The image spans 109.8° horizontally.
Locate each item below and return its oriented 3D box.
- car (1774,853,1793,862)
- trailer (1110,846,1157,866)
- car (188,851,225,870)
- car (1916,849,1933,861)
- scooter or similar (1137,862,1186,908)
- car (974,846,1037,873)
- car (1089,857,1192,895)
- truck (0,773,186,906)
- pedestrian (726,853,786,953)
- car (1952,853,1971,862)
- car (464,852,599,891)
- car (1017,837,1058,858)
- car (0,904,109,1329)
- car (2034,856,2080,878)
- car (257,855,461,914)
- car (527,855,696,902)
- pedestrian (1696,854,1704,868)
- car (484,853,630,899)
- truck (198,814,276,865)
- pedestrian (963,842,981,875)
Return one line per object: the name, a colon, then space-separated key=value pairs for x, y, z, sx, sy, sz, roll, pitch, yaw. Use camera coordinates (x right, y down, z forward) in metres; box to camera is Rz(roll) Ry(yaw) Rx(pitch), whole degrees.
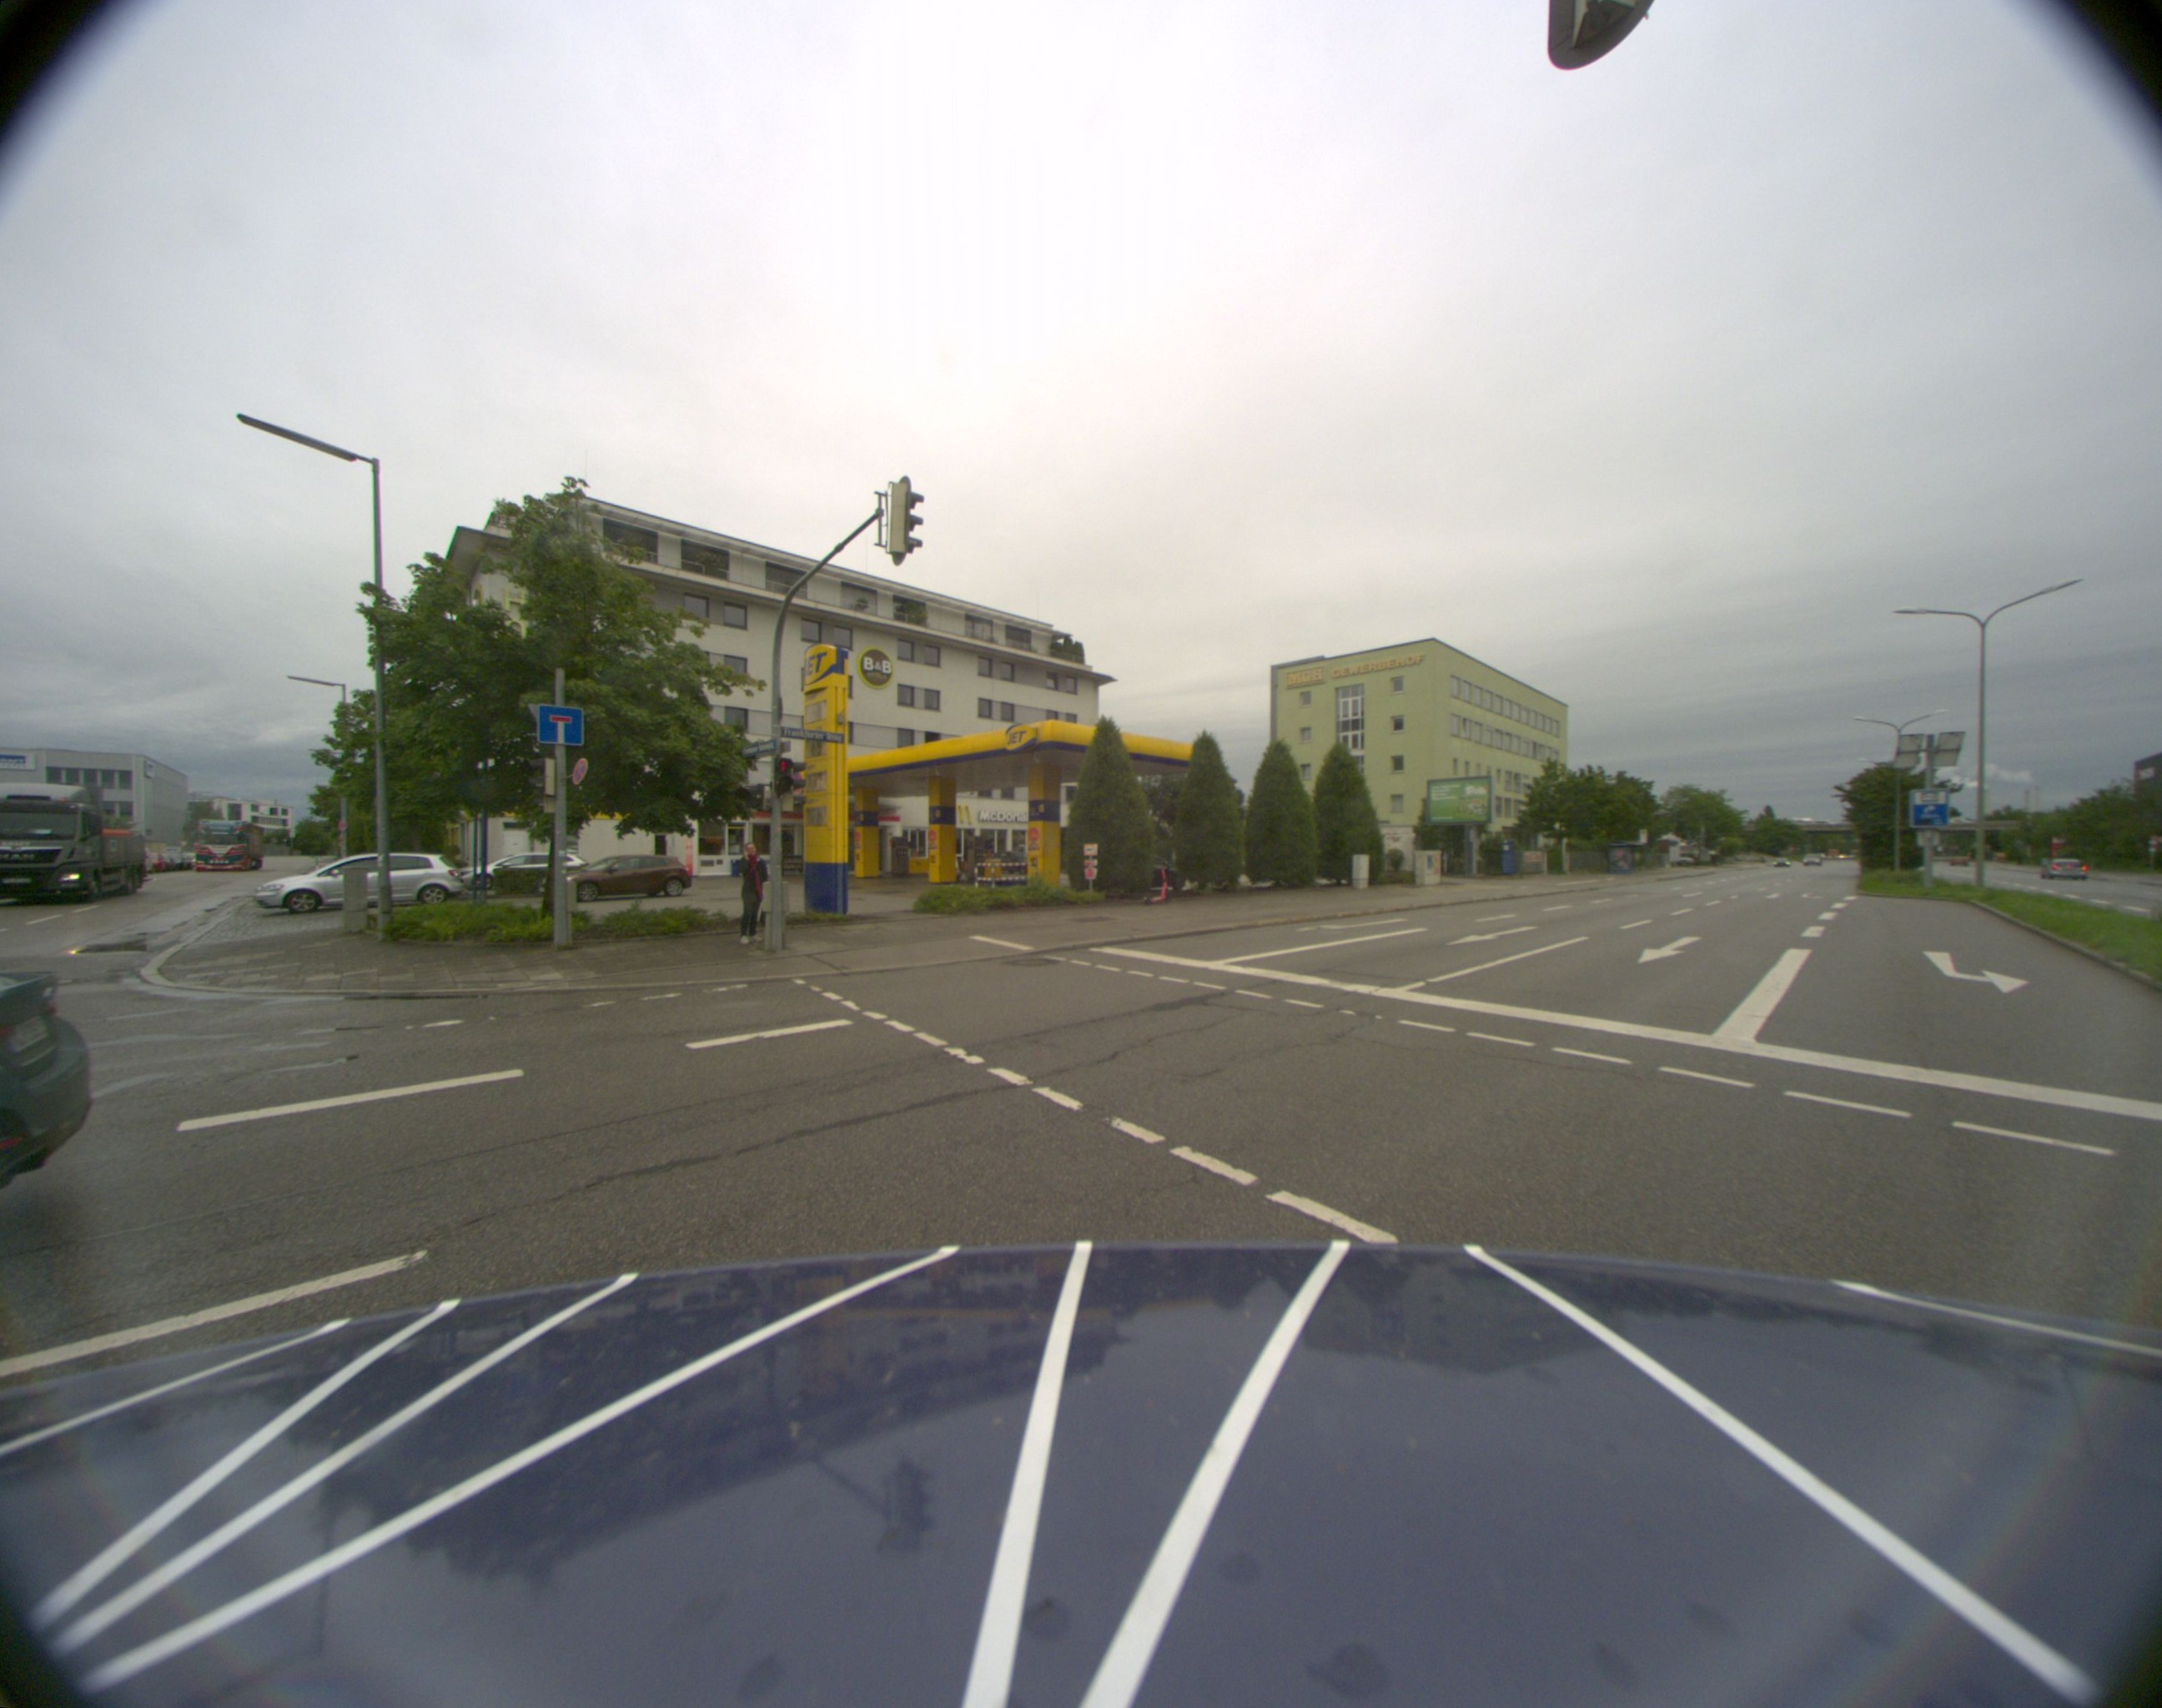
car: x=109.383 y=0.486 z=118.318 sx=1.994 sy=1.393 sz=4.664 roll=-1 pitch=0 yaw=45
trailer: x=4.455 y=0.183 z=64.258 sx=3.799 sy=1.640 sz=1.639 roll=-1 pitch=0 yaw=45
car: x=-82.381 y=0.631 z=71.617 sx=1.877 sy=1.696 sz=4.092 roll=-1 pitch=0 yaw=-43
car: x=144.195 y=0.216 z=129.953 sx=3.841 sy=2.002 sz=1.812 roll=-1 pitch=2 yaw=-43
scooter or similar: x=2.317 y=0.855 z=21.694 sx=1.548 sy=1.236 sz=0.356 roll=-1 pitch=4 yaw=-39
car: x=-4.680 y=0.303 z=46.614 sx=3.988 sy=1.578 sz=1.710 roll=0 pitch=1 yaw=44
car: x=2.350 y=0.812 z=29.293 sx=1.795 sy=1.324 sz=4.008 roll=-1 pitch=0 yaw=45
truck: x=-34.911 y=-0.509 z=26.732 sx=2.615 sy=3.834 sz=11.901 roll=-1 pitch=1 yaw=-41
pedestrian: x=-5.555 y=0.813 z=12.985 sx=0.689 sy=1.606 sz=0.802 roll=-1 pitch=4 yaw=-45
car: x=147.070 y=0.569 z=126.995 sx=4.313 sy=1.539 sz=1.736 roll=0 pitch=2 yaw=-45
car: x=-22.343 y=0.681 z=30.970 sx=4.202 sy=1.469 sz=1.903 roll=0 pitch=0 yaw=-45
car: x=-4.137 y=-0.585 z=71.955 sx=1.726 sy=1.931 sz=3.989 roll=-1 pitch=0 yaw=-42
car: x=-6.089 y=1.012 z=1.780 sx=4.448 sy=1.498 sz=1.912 roll=0 pitch=0 yaw=-44
car: x=75.969 y=0.993 z=59.196 sx=4.035 sy=1.549 sz=1.814 roll=0 pitch=2 yaw=-43
car: x=-19.983 y=0.786 z=21.177 sx=1.624 sy=1.477 sz=3.986 roll=-1 pitch=0 yaw=44
car: x=-15.196 y=0.752 z=24.837 sx=1.699 sy=1.376 sz=4.373 roll=-1 pitch=0 yaw=36
pedestrian: x=76.655 y=0.850 z=94.065 sx=0.681 sy=1.810 sz=0.689 roll=-1 pitch=0 yaw=45
car: x=-18.211 y=0.709 z=26.494 sx=3.986 sy=1.477 sz=1.624 roll=0 pitch=0 yaw=-43
truck: x=-69.152 y=-1.159 z=62.505 sx=2.885 sy=3.810 sz=11.901 roll=-1 pitch=1 yaw=-41
pedestrian: x=-5.832 y=0.239 z=40.582 sx=0.707 sy=1.718 sz=0.645 roll=-1 pitch=0 yaw=42
